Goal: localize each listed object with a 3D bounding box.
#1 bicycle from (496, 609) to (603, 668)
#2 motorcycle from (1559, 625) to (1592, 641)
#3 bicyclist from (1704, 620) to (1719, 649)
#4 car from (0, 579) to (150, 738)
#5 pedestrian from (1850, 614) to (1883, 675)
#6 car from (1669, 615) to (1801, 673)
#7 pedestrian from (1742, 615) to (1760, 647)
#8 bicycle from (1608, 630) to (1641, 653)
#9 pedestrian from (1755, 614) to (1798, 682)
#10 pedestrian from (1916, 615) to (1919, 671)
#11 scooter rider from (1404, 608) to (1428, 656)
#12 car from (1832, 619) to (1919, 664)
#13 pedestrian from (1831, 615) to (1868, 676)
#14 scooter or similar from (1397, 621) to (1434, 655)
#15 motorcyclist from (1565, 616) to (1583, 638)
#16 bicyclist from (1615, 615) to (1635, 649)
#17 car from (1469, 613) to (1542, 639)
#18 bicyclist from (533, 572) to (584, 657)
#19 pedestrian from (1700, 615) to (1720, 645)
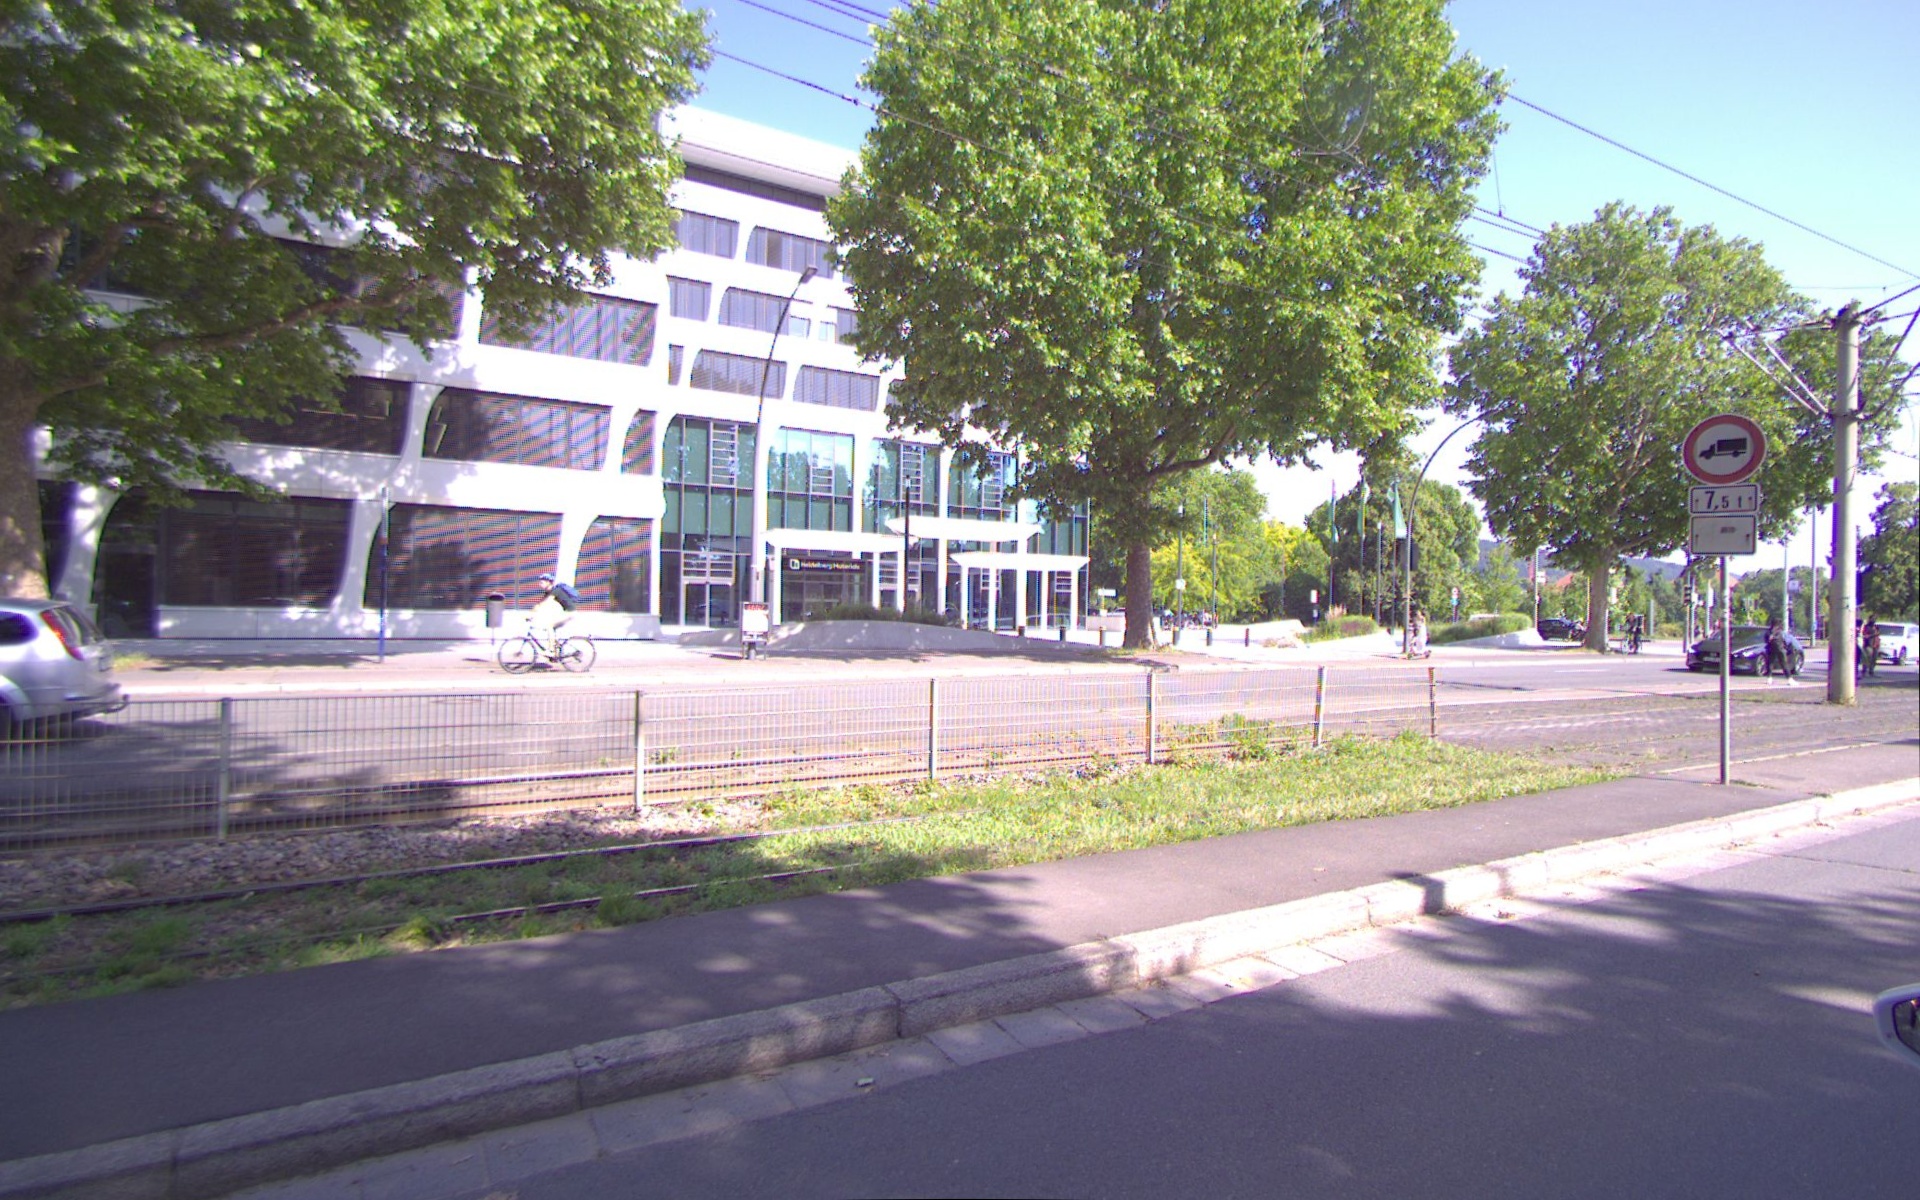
[{"bbox_3d":[-8.019,0.747,19.663,1.862,1.109,0.664,1,0,-30],"label":"bicycle"},{"bbox_3d":[38.485,2.062,62.810,0.642,0.903,1.636,1,0,-30],"label":"motorcycle"},{"bbox_3d":[35.133,1.607,46.982,0.460,1.329,0.383,1,0,-30],"label":"bicyclist"},{"bbox_3d":[-10.699,0.517,9.602,4.334,1.508,1.788,1,0,-30],"label":"car"},{"bbox_3d":[25.882,1.262,28.678,0.636,1.702,0.490,1,0,-30],"label":"pedestrian"},{"bbox_3d":[23.794,1.332,30.808,3.953,1.630,1.862,1,0,-30],"label":"car"},{"bbox_3d":[39.633,1.561,50.346,0.614,1.562,0.780,1,0,34],"label":"pedestrian"},{"bbox_3d":[28.322,1.764,42.825,1.635,0.974,0.482,1,0,-31],"label":"bicycle"},{"bbox_3d":[20.347,1.194,25.054,0.747,1.645,0.593,2,0,35],"label":"pedestrian"},{"bbox_3d":[30.847,1.366,31.643,0.743,1.757,0.773,1,0,-22],"label":"pedestrian"},{"bbox_3d":[15.870,1.120,34.965,0.559,1.653,0.504,1,0,-30],"label":"scooter rider"},{"bbox_3d":[35.864,1.592,39.088,3.815,1.630,1.755,1,0,-30],"label":"car"},{"bbox_3d":[24.871,1.274,28.089,0.548,1.668,0.590,1,0,-30],"label":"pedestrian"},{"bbox_3d":[15.871,1.325,34.973,1.233,1.127,0.545,1,0,-30],"label":"scooter or similar"},{"bbox_3d":[38.456,1.694,62.886,0.597,1.332,0.749,1,0,-30],"label":"motorcyclist"},{"bbox_3d":[28.365,1.352,42.837,0.585,1.435,0.477,1,0,-31],"label":"bicyclist"},{"bbox_3d":[35.288,1.671,65.084,1.748,1.569,3.829,1,0,-30],"label":"car"},{"bbox_3d":[-7.881,0.282,19.719,0.829,1.625,0.572,1,0,-30],"label":"bicyclist"},{"bbox_3d":[39.214,1.570,52.507,0.637,1.562,0.619,1,0,-32],"label":"pedestrian"}]
